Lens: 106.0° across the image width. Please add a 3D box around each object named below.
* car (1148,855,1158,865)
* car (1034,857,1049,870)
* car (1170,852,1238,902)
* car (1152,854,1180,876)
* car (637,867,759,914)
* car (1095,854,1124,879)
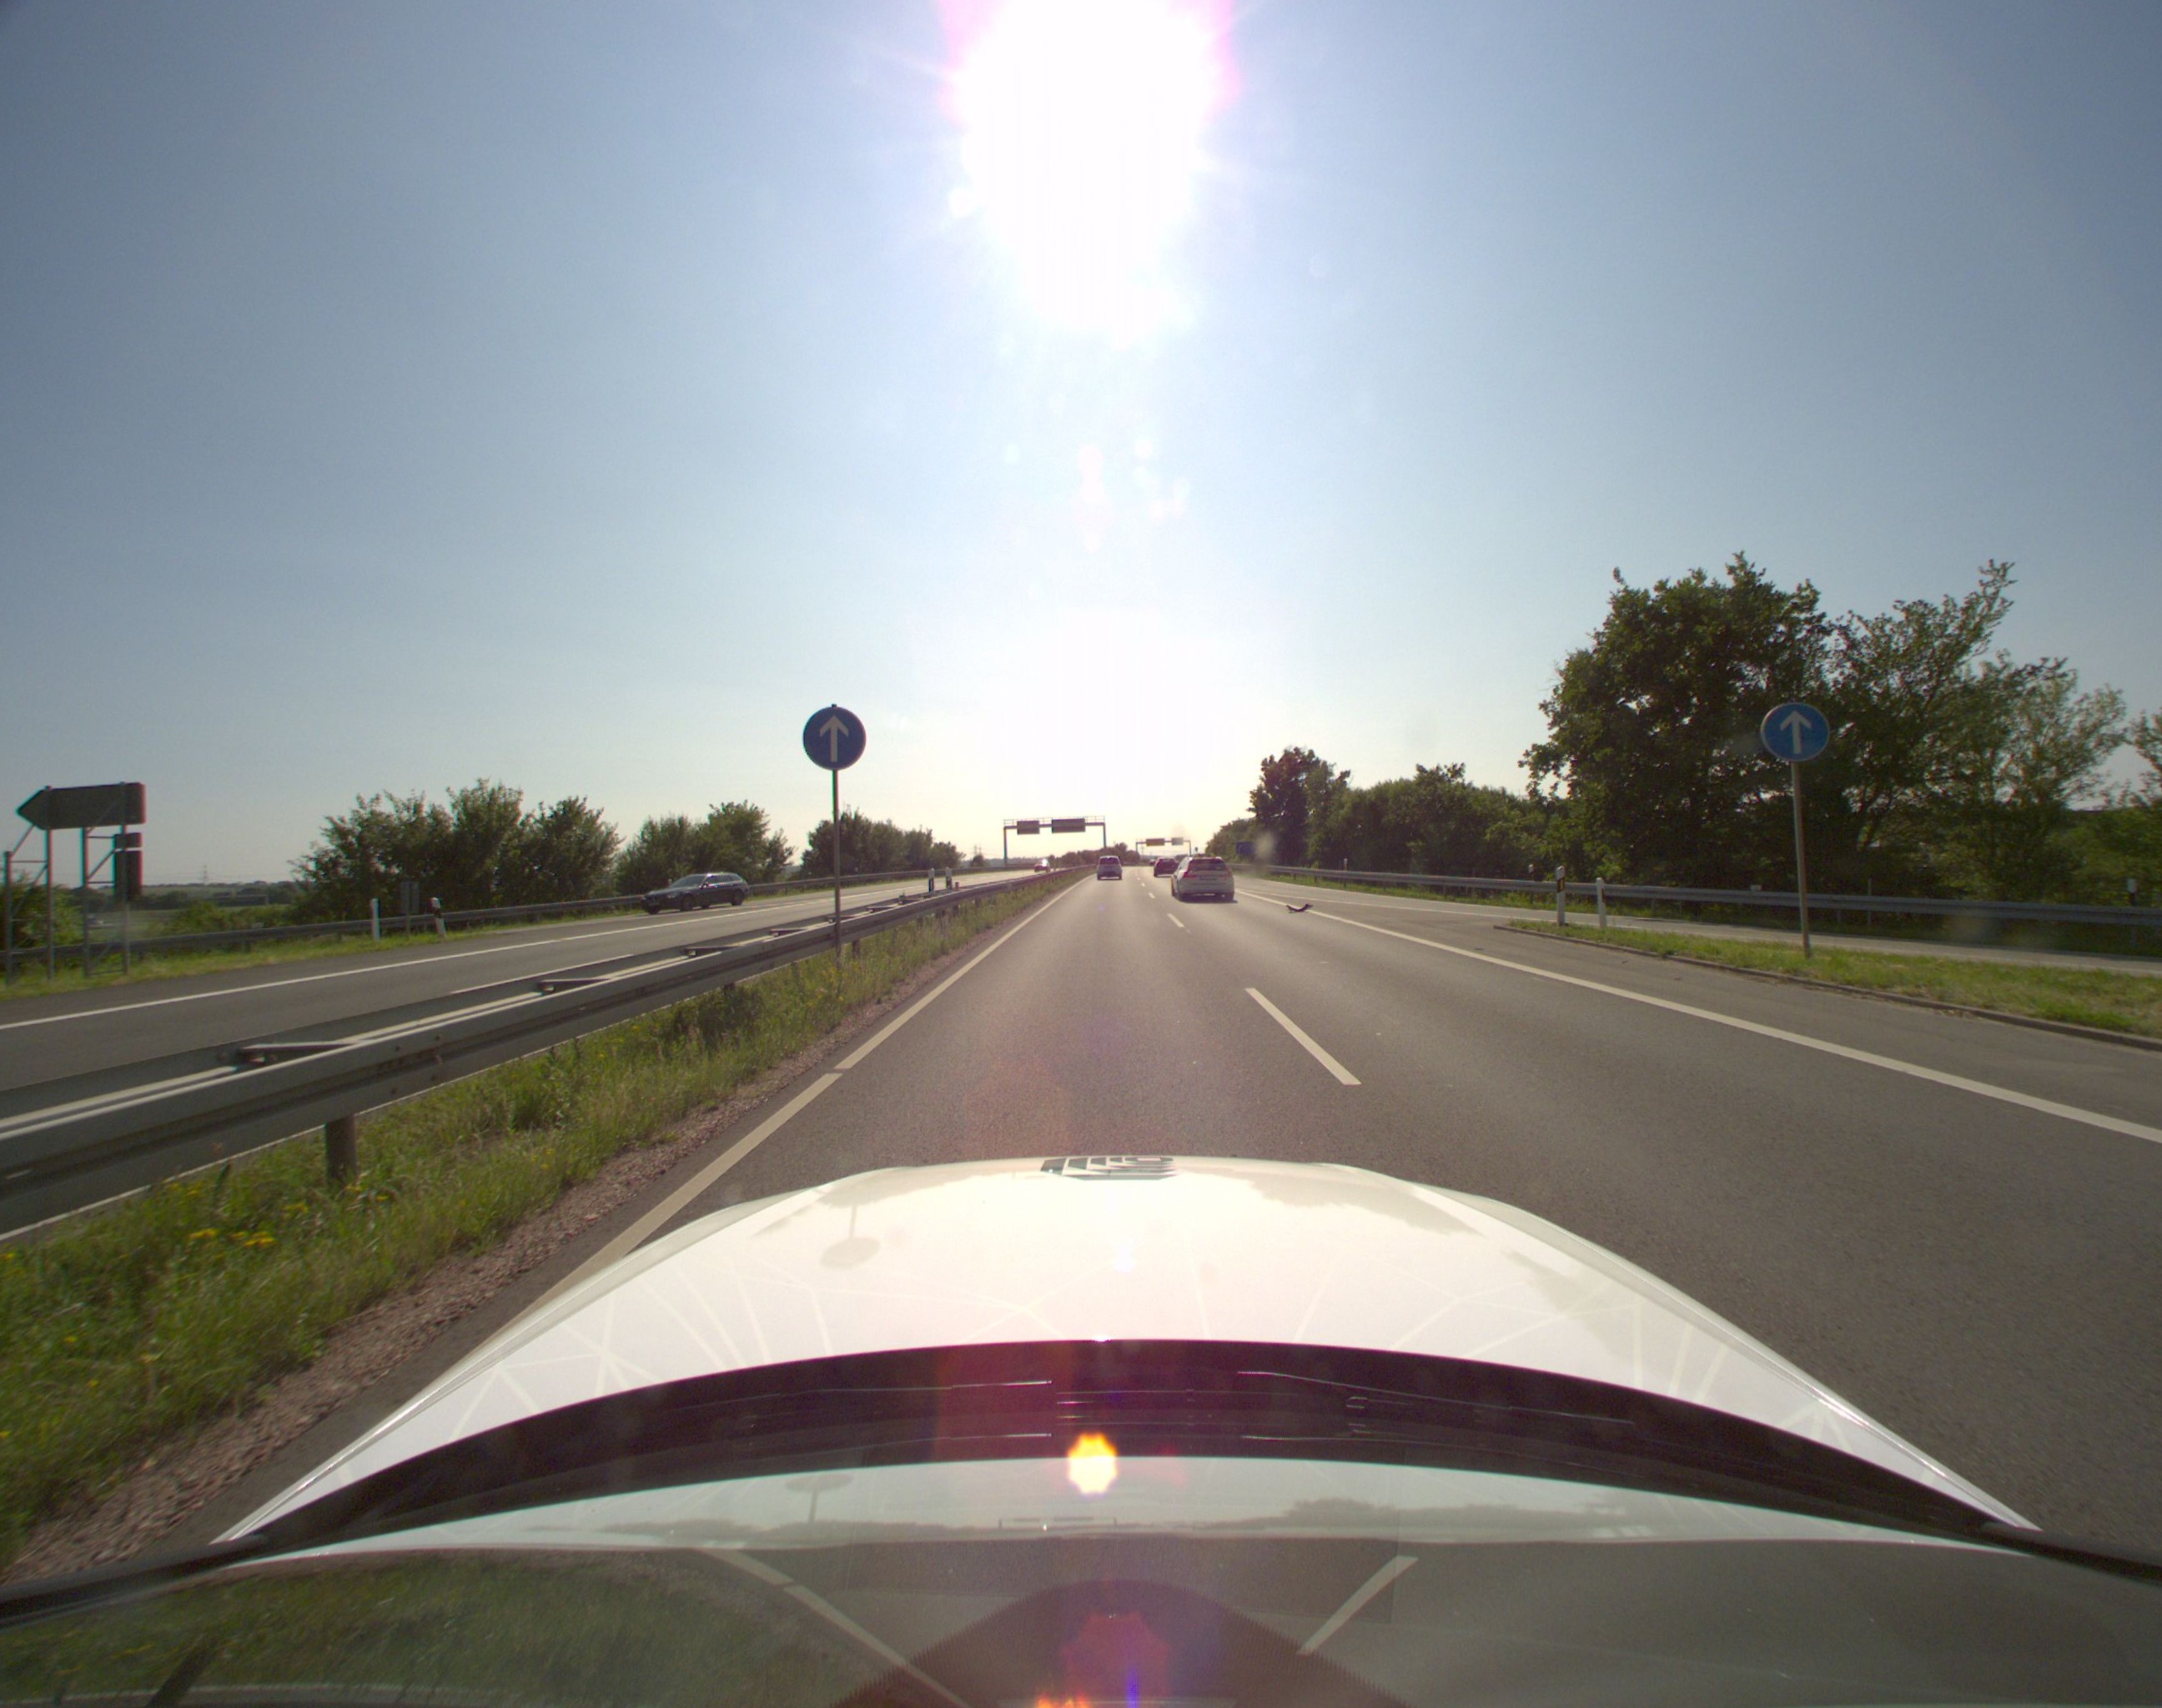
[{"bbox_3d":[15.474,1.308,175.191,1.984,2.014,4.005,0,-1,5],"label":"car"},{"bbox_3d":[-5.105,1.241,105.324,1.636,1.575,4.266,0,0,2],"label":"car"},{"bbox_3d":[4.194,0.746,28.384,1.950,1.601,4.110,0,0,3],"label":"car"},{"bbox_3d":[6.133,0.816,59.053,1.786,1.543,3.674,-1,-1,3],"label":"car"},{"bbox_3d":[-15.640,1.439,33.598,1.580,1.494,4.835,-6,-1,17],"label":"car"},{"bbox_3d":[1.951,0.870,54.498,1.786,1.503,4.045,-3,-3,3],"label":"car"}]
